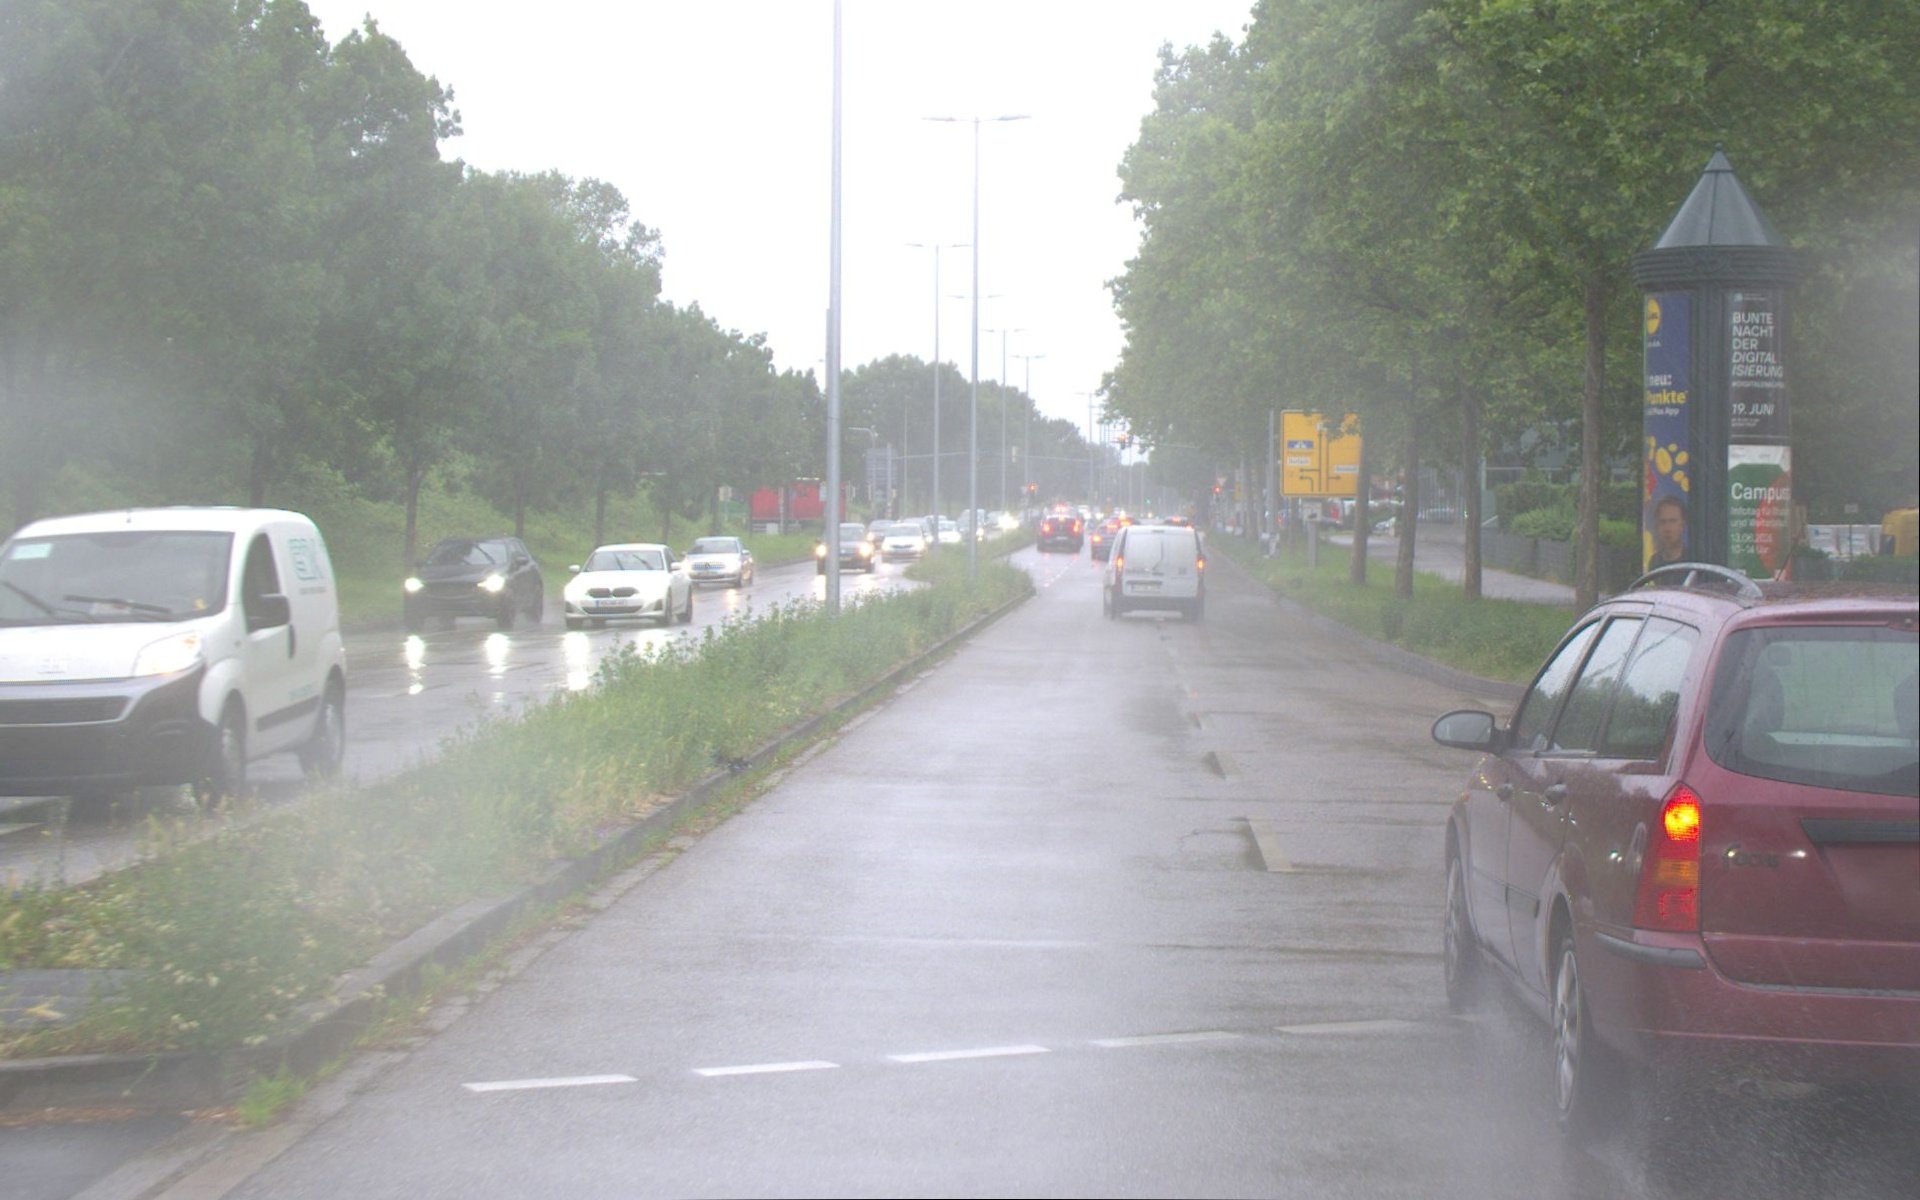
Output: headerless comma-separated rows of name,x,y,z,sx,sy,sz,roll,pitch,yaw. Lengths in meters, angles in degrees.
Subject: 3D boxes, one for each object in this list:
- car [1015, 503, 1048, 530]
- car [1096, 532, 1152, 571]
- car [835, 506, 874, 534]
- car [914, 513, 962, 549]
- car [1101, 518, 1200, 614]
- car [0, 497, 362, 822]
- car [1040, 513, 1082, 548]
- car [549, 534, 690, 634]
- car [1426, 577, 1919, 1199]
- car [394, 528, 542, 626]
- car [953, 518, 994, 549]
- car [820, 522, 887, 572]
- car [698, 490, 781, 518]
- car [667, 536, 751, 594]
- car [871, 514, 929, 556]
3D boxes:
car,4.086,-4.785,196.706,1.698,1.522,3.845,0,1,4
car,6.680,-1.976,139.621,2.148,1.522,4.192,0,1,5
car,-6.084,-4.600,198.434,1.963,1.591,4.284,0,1,2
car,-0.988,-3.159,156.530,1.963,1.591,4.284,0,1,3
car,3.621,-0.676,65.854,1.736,1.720,4.244,2,2,2
car,-4.863,0.269,20.362,1.744,1.696,4.284,-1,1,2
car,4.545,-3.119,154.580,1.698,1.522,3.845,0,1,4
car,-6.024,-0.312,61.287,1.963,1.696,4.284,0,1,2
car,2.390,0.735,9.834,1.642,1.460,3.732,2,2,2
car,-8.905,-0.453,62.518,1.963,1.696,4.284,0,1,2
car,0.730,-3.513,180.244,1.963,1.591,4.284,0,1,3
car,-3.508,-1.779,113.951,1.963,1.591,4.284,0,1,2
car,-12.593,-5.470,196.397,4.270,1.591,1.969,-1,2,-32
car,-7.135,-1.012,97.959,1.963,1.591,4.284,0,1,2
car,-2.306,-2.536,133.356,1.963,1.591,4.284,0,1,3
